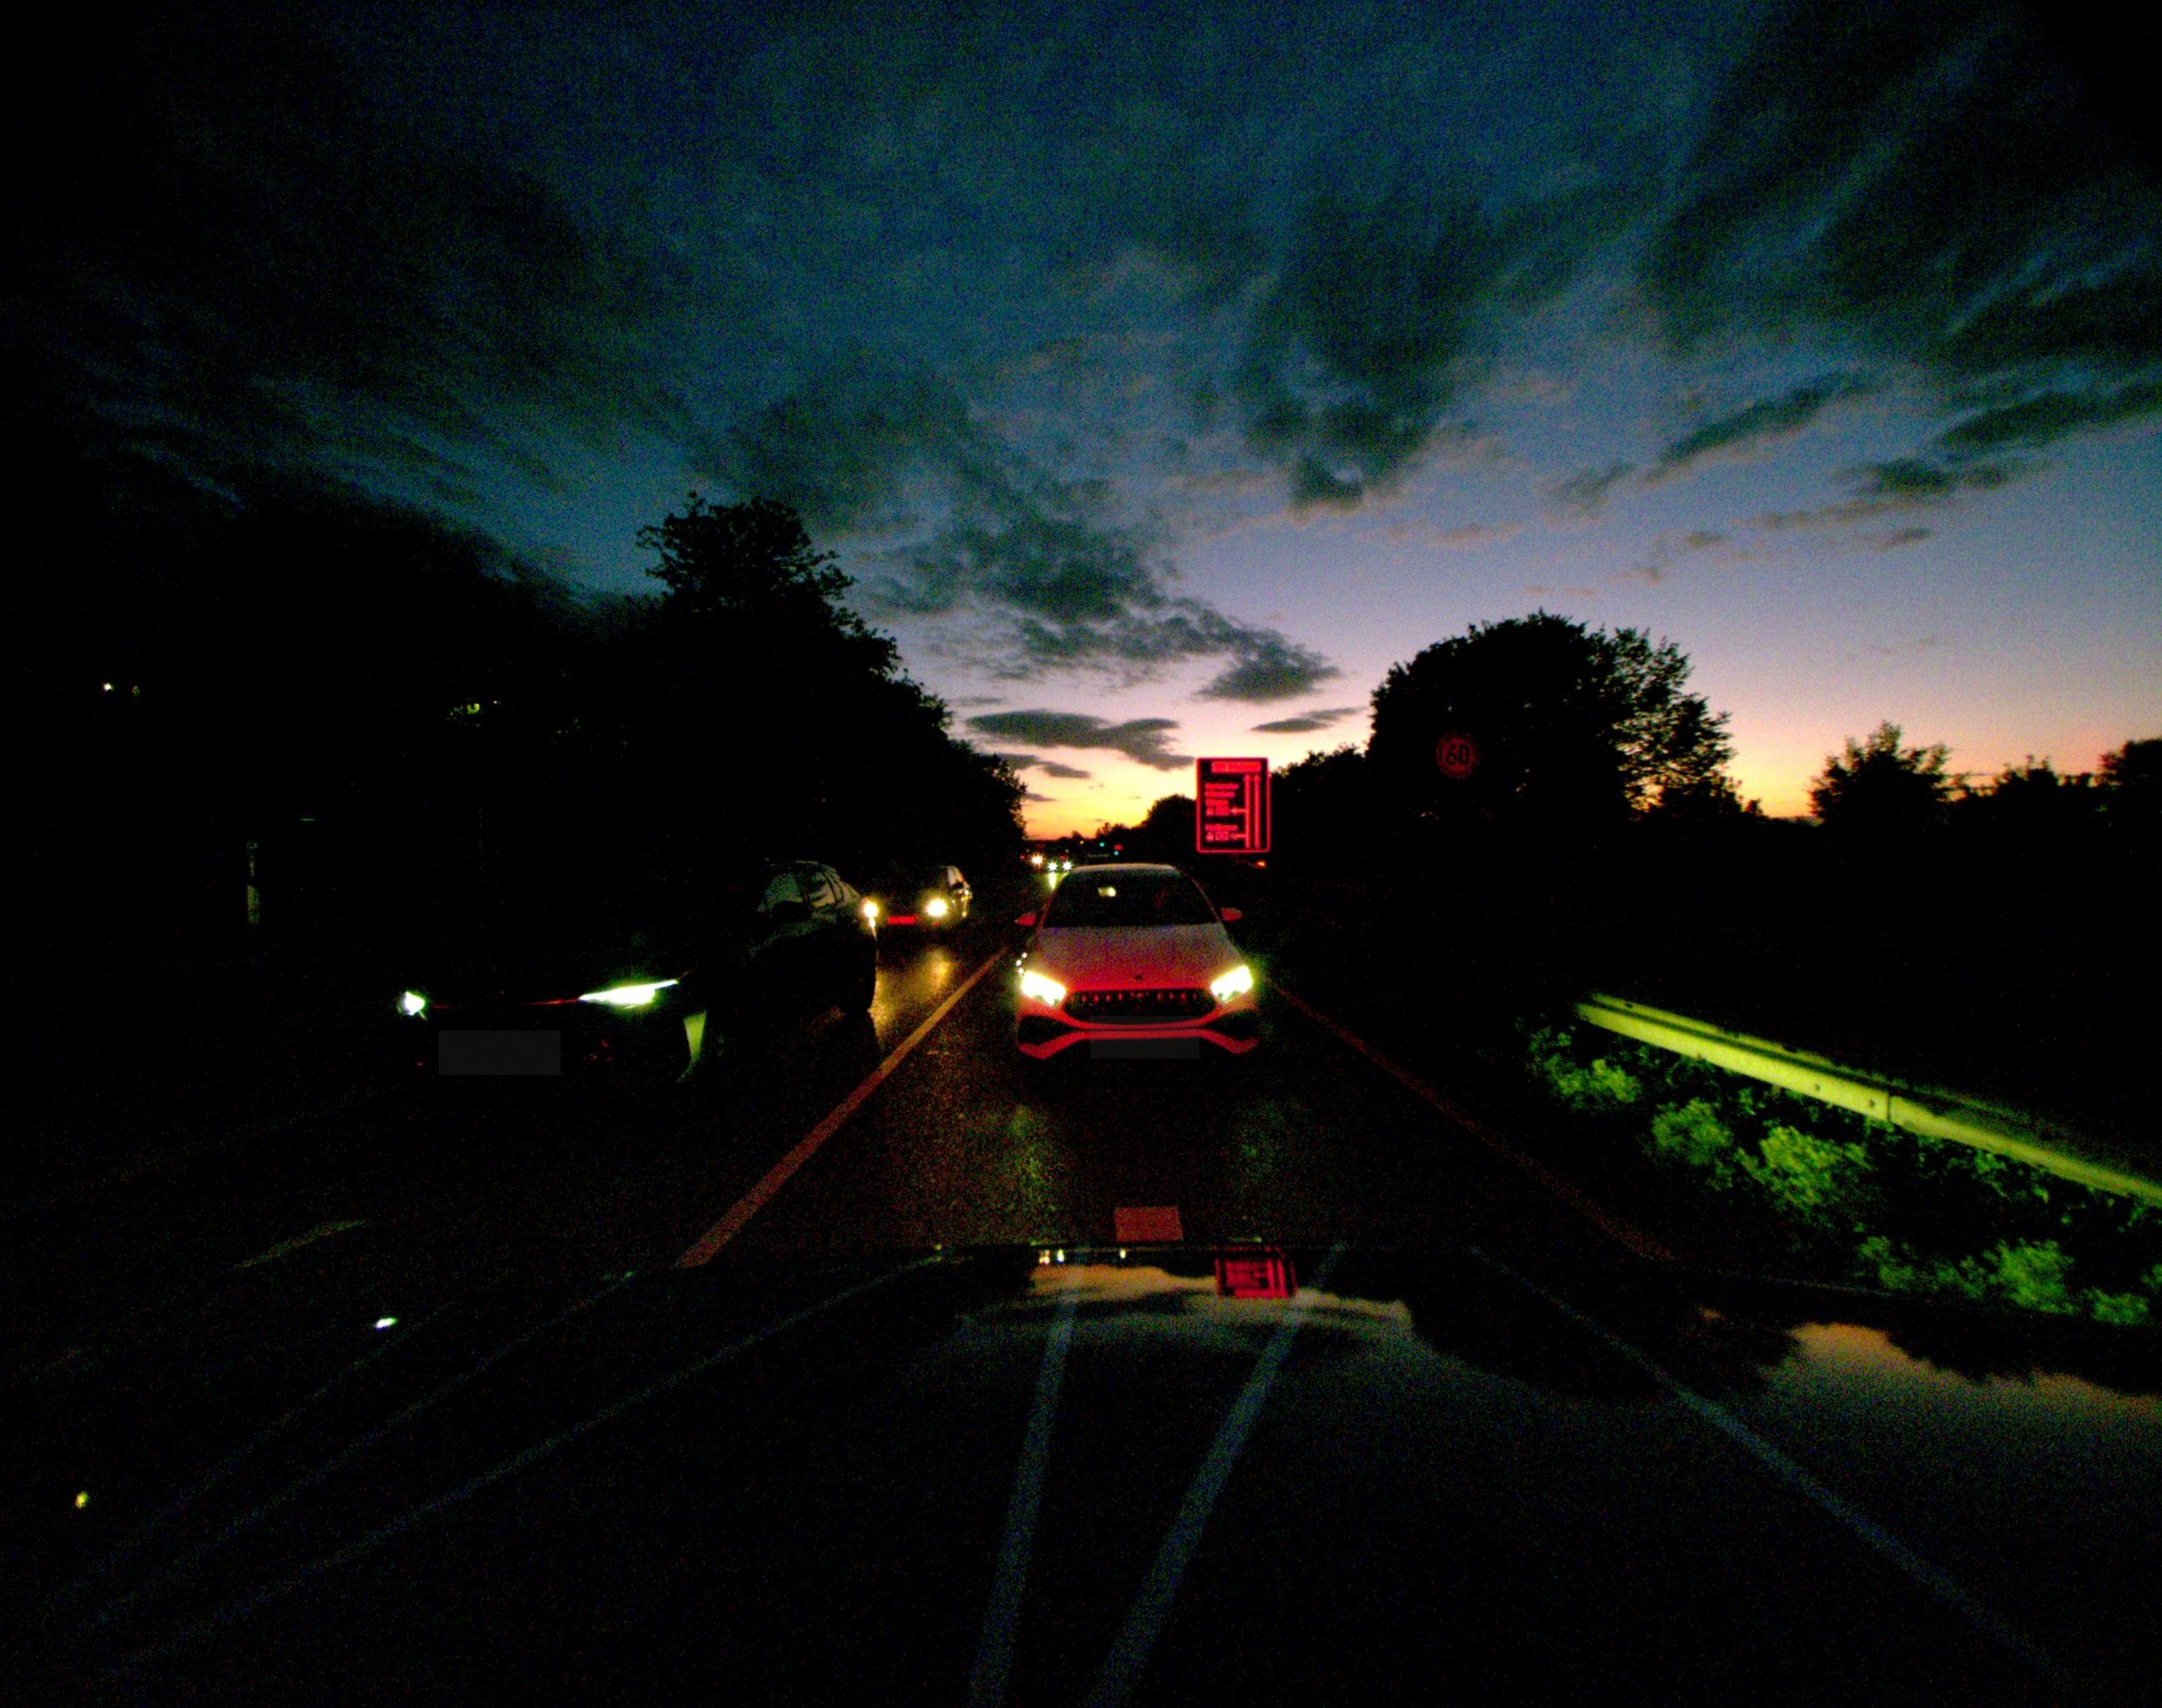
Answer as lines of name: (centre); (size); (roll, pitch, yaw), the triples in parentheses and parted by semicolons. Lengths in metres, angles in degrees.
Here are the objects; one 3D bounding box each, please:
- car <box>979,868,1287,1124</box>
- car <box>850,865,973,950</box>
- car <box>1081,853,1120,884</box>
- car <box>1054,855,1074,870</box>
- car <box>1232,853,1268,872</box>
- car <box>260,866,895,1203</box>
car: (0.328, 0.937, 7.052); (1.901, 1.472, 4.514); (-2, 0, 0)
car: (-3.417, 1.023, 16.033); (1.624, 1.460, 3.871); (-2, 0, 1)
car: (1.027, 0.782, 42.600); (1.999, 1.602, 4.501); (-1, 0, -1)
car: (-1.685, 0.849, 77.454); (1.999, 1.423, 4.501); (0, 0, -1)
car: (13.678, 0.651, 61.833); (1.998, 1.510, 4.297); (-1, 0, 1)
car: (-3.171, 0.970, 6.266); (1.998, 1.600, 4.711); (-2, 0, 1)
